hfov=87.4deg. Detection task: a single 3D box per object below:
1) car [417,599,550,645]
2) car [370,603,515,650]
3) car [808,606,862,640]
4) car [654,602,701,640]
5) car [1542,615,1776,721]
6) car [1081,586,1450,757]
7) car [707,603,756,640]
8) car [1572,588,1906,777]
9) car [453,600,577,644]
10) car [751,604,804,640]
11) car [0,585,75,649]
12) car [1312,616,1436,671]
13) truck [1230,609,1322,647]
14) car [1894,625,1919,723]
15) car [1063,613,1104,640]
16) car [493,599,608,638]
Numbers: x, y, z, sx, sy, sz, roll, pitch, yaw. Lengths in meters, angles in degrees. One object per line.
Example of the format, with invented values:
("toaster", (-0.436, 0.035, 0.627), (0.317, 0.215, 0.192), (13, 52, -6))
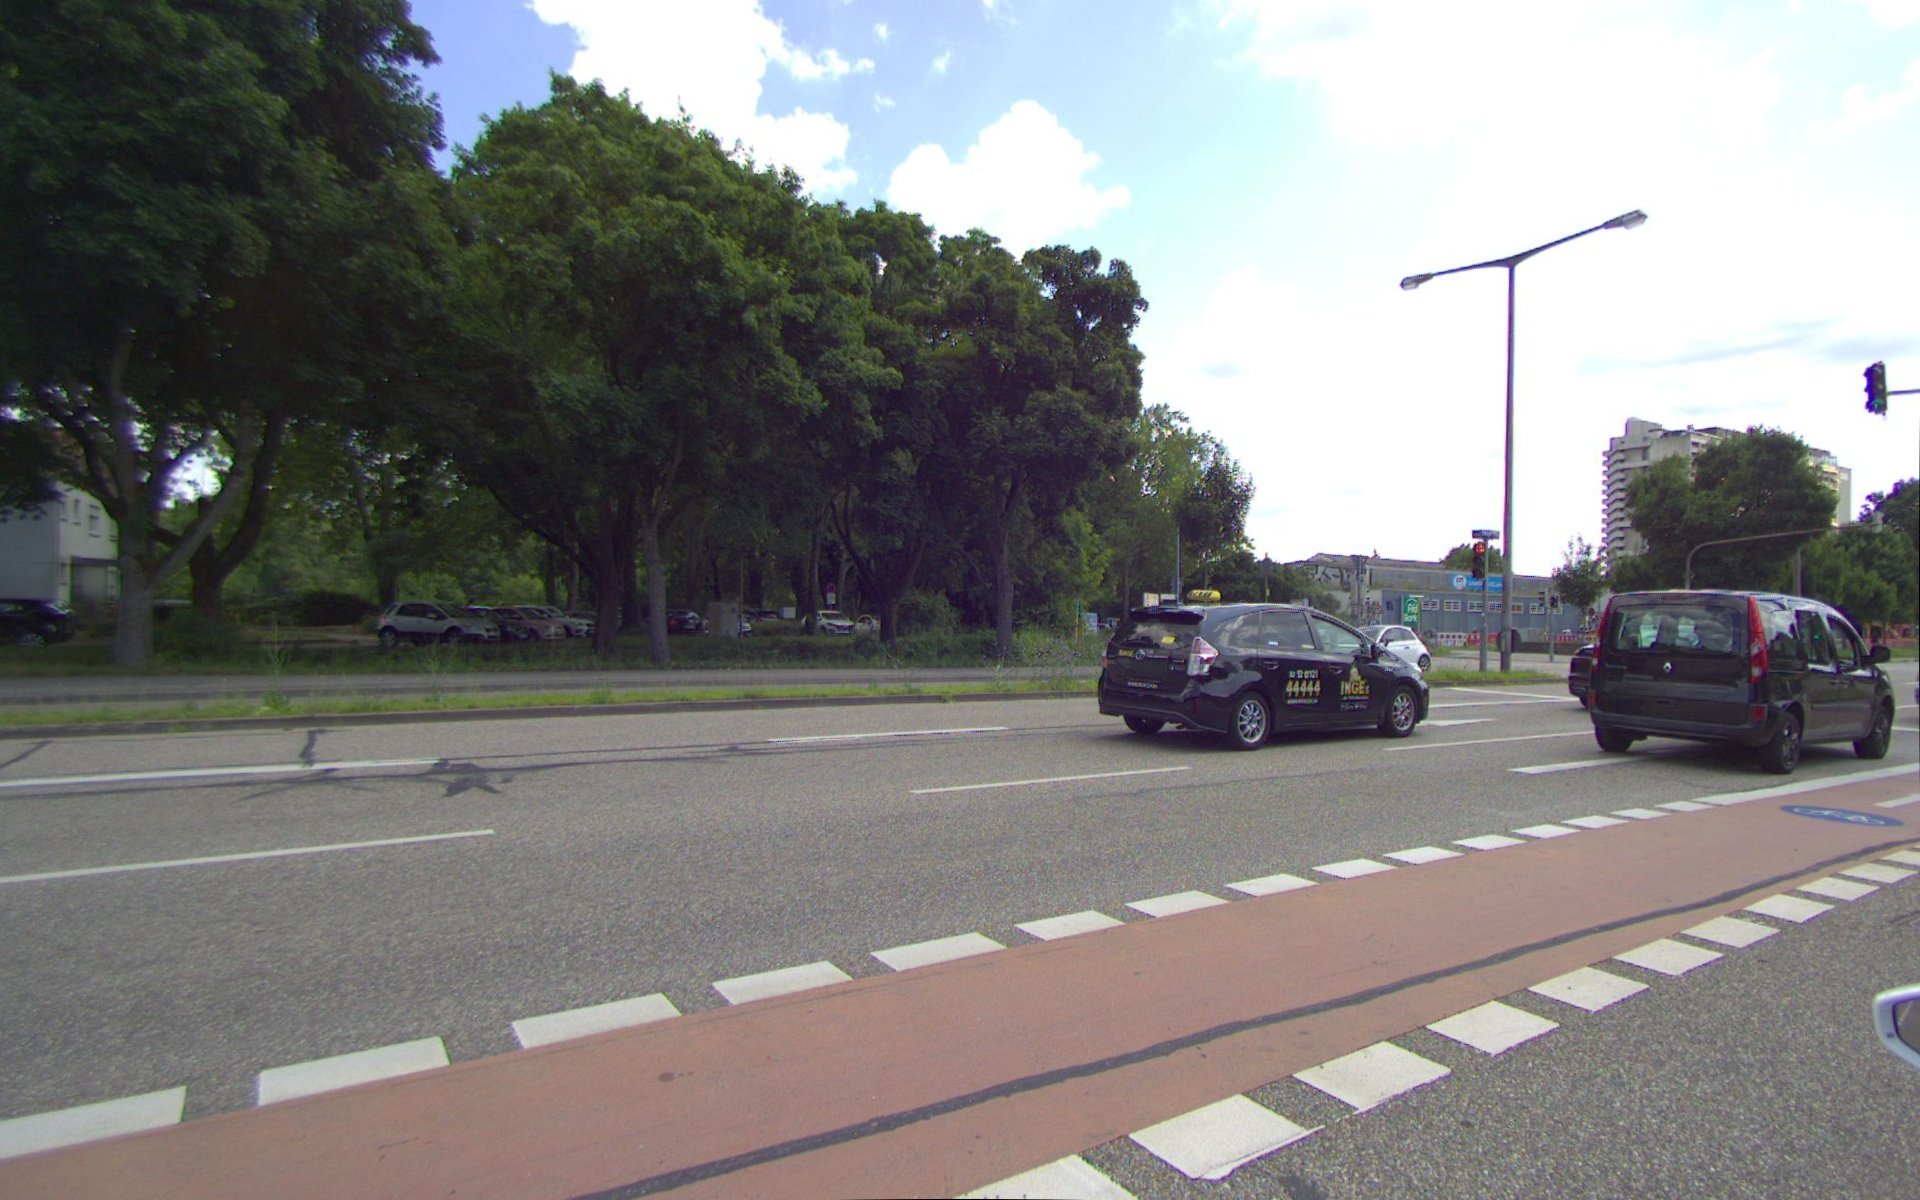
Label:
("car", (-17.516, 0.801, 37.040), (3.941, 1.608, 2.001), (1, -1, 6))
("car", (-17.657, 0.902, 34.407), (3.941, 1.503, 2.001), (1, -1, 6))
("car", (-6.705, 1.233, 53.560), (2.044, 1.748, 4.111), (1, -1, -19))
("car", (-13.742, 0.999, 48.721), (1.793, 1.750, 4.106), (1, -1, -22))
("car", (11.734, 1.079, 16.818), (3.957, 1.524, 1.853), (2, 0, -33))
("car", (3.663, 0.755, 11.804), (4.293, 1.690, 1.775), (2, 0, -33))
("car", (-11.499, 1.075, 50.419), (1.793, 1.732, 4.106), (1, -1, -22))
("car", (8.833, 0.827, 11.326), (3.866, 1.801, 1.750), (2, 0, -32))
("car", (-17.442, 0.864, 39.473), (3.942, 1.608, 2.001), (-1, -1, 6))
("car", (-9.372, 1.111, 51.268), (2.014, 1.748, 4.559), (1, -1, -19))
("car", (-26.259, 0.420, 26.491), (4.331, 1.679, 1.790), (2, 0, -42))
("car", (12.084, 1.253, 29.264), (3.556, 1.464, 1.602), (2, 0, -34))
("truck", (21.649, 1.922, 69.254), (2.987, 2.472, 6.970), (1, -1, -12))
("car", (17.321, 1.238, 16.529), (4.253, 1.545, 1.776), (2, 0, -32))
("car", (9.105, 1.950, 74.211), (1.904, 1.817, 3.611), (2, 0, -13))
("car", (-17.077, 0.784, 41.956), (3.941, 1.565, 2.001), (1, -1, 6))
